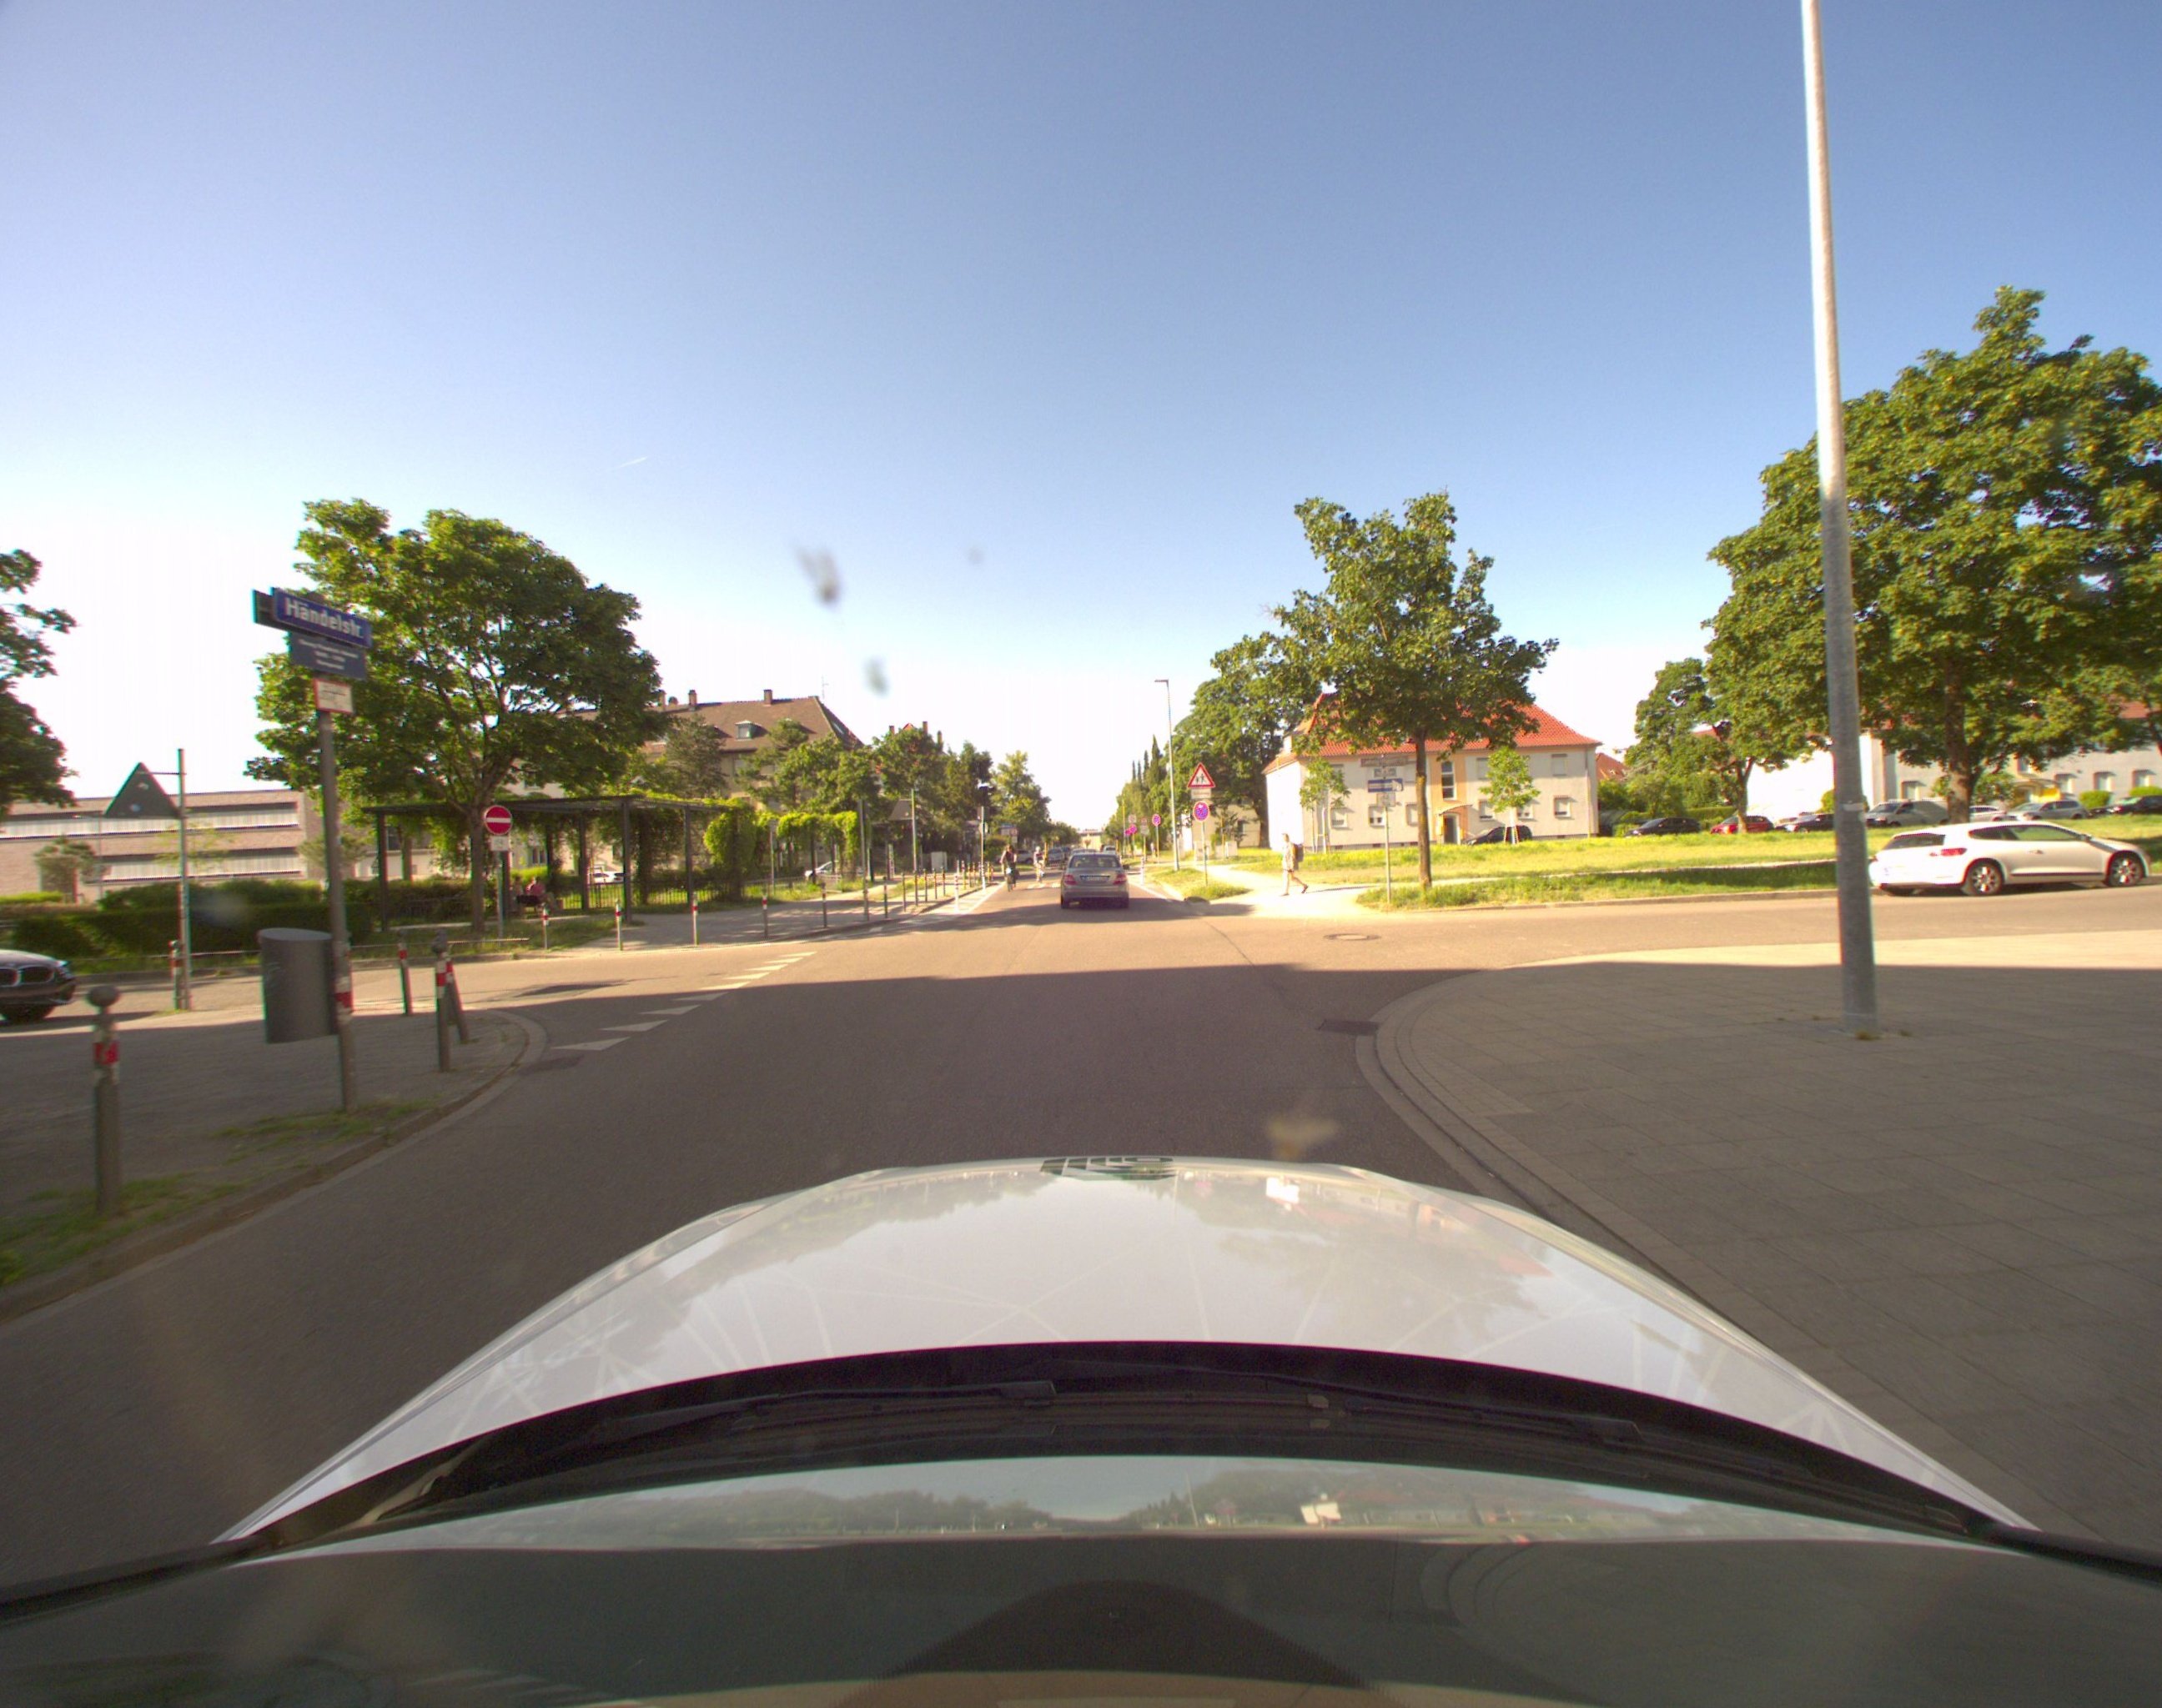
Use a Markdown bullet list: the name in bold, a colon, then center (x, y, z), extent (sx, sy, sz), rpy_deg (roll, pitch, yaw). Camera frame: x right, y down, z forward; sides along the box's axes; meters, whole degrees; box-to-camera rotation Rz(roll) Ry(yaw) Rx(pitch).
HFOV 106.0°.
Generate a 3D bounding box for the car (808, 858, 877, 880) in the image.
- **car**: center (-15.719, 0.995, 53.781), extent (3.977, 1.376, 1.998), rpy_deg (-1, -1, -2)

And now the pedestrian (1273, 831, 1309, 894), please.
- **pedestrian**: center (5.538, 0.222, 21.468), extent (0.640, 1.623, 0.621), rpy_deg (-3, 0, 39)

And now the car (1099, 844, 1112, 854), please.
- **car**: center (4.257, -0.811, 139.685), extent (1.783, 1.532, 3.995), rpy_deg (-3, 0, -3)

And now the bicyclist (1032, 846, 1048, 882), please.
- **bicyclist**: center (-1.749, 0.417, 34.897), extent (0.570, 1.509, 0.655), rpy_deg (-3, 0, 2)

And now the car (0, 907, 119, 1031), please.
- **car**: center (-15.397, 1.546, 10.397), extent (4.122, 1.485, 1.807), rpy_deg (-3, -2, 1)

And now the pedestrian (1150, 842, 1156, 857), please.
- **pedestrian**: center (7.423, -0.482, 84.057), extent (0.508, 1.559, 0.643), rpy_deg (-1, -1, 2)

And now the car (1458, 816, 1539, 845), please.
- **car**: center (27.104, -1.526, 52.989), extent (4.270, 1.600, 1.901), rpy_deg (-3, 0, 2)

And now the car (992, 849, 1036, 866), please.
- **car**: center (-6.208, 0.355, 75.899), extent (3.976, 1.524, 1.755), rpy_deg (-1, -1, -2)

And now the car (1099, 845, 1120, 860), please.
- **car**: center (2.890, -0.163, 83.460), extent (1.719, 1.330, 3.995), rpy_deg (-3, 0, -3)

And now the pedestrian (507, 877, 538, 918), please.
- **pedestrian**: center (-16.269, 1.272, 23.727), extent (0.544, 1.168, 0.483), rpy_deg (-1, -1, 2)

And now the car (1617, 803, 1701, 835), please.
- **car**: center (37.528, -2.241, 52.983), extent (4.059, 1.784, 1.870), rpy_deg (-3, 0, 2)

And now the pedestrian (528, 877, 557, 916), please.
- **pedestrian**: center (-16.253, 1.284, 24.600), extent (0.544, 1.168, 0.483), rpy_deg (-1, -1, 2)

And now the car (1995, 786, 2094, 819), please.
- **car**: center (62.559, -3.320, 52.917), extent (4.059, 1.784, 1.870), rpy_deg (-3, 0, 2)

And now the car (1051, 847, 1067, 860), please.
- **car**: center (-2.684, -0.077, 99.116), extent (1.783, 1.532, 3.995), rpy_deg (-3, 0, -3)

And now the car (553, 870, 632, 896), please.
- **car**: center (-32.245, 1.893, 53.856), extent (3.977, 1.376, 1.865), rpy_deg (-3, 0, -2)

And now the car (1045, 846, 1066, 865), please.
- **car**: center (-2.581, 0.152, 81.038), extent (1.869, 1.728, 3.995), rpy_deg (-3, 0, -4)

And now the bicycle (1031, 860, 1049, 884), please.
- **bicycle**: center (-1.744, 0.771, 34.862), extent (0.587, 0.931, 1.851), rpy_deg (-3, 0, 2)

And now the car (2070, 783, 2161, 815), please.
- **car**: center (67.432, -3.575, 52.861), extent (4.059, 1.784, 1.870), rpy_deg (-3, 0, 2)

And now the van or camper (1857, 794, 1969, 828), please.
- **van or camper**: center (50.724, -2.608, 49.712), extent (4.644, 1.784, 2.001), rpy_deg (-3, 0, 2)

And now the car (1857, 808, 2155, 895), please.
- **car**: center (17.816, 0.000, 15.824), extent (3.793, 1.391, 1.604), rpy_deg (-3, -4, 1)

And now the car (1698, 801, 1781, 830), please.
- **car**: center (42.819, -2.467, 53.015), extent (3.862, 1.587, 1.781), rpy_deg (-3, 0, 2)

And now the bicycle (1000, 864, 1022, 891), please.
- **bicycle**: center (-2.641, 0.887, 30.904), extent (0.587, 0.931, 1.851), rpy_deg (-3, 0, 2)

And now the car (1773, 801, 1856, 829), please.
- **car**: center (47.768, -2.535, 53.089), extent (3.862, 1.550, 1.646), rpy_deg (-3, 0, 2)

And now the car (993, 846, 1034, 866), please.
- **car**: center (-6.003, 0.200, 72.542), extent (3.489, 1.533, 1.641), rpy_deg (-3, 0, -6)

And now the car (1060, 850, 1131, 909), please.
- **car**: center (0.434, 0.660, 21.963), extent (1.720, 1.420, 3.962), rpy_deg (-1, -1, 2)

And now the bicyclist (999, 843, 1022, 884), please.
- **bicyclist**: center (-2.671, 0.350, 30.888), extent (0.678, 1.509, 0.655), rpy_deg (-3, 0, 2)

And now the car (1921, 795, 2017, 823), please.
- **car**: center (57.708, -2.903, 52.991), extent (4.059, 1.542, 1.870), rpy_deg (-3, 0, 2)

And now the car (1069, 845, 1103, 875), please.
- **car**: center (0.283, 0.334, 43.076), extent (1.701, 1.448, 4.202), rpy_deg (-1, -1, 0)
